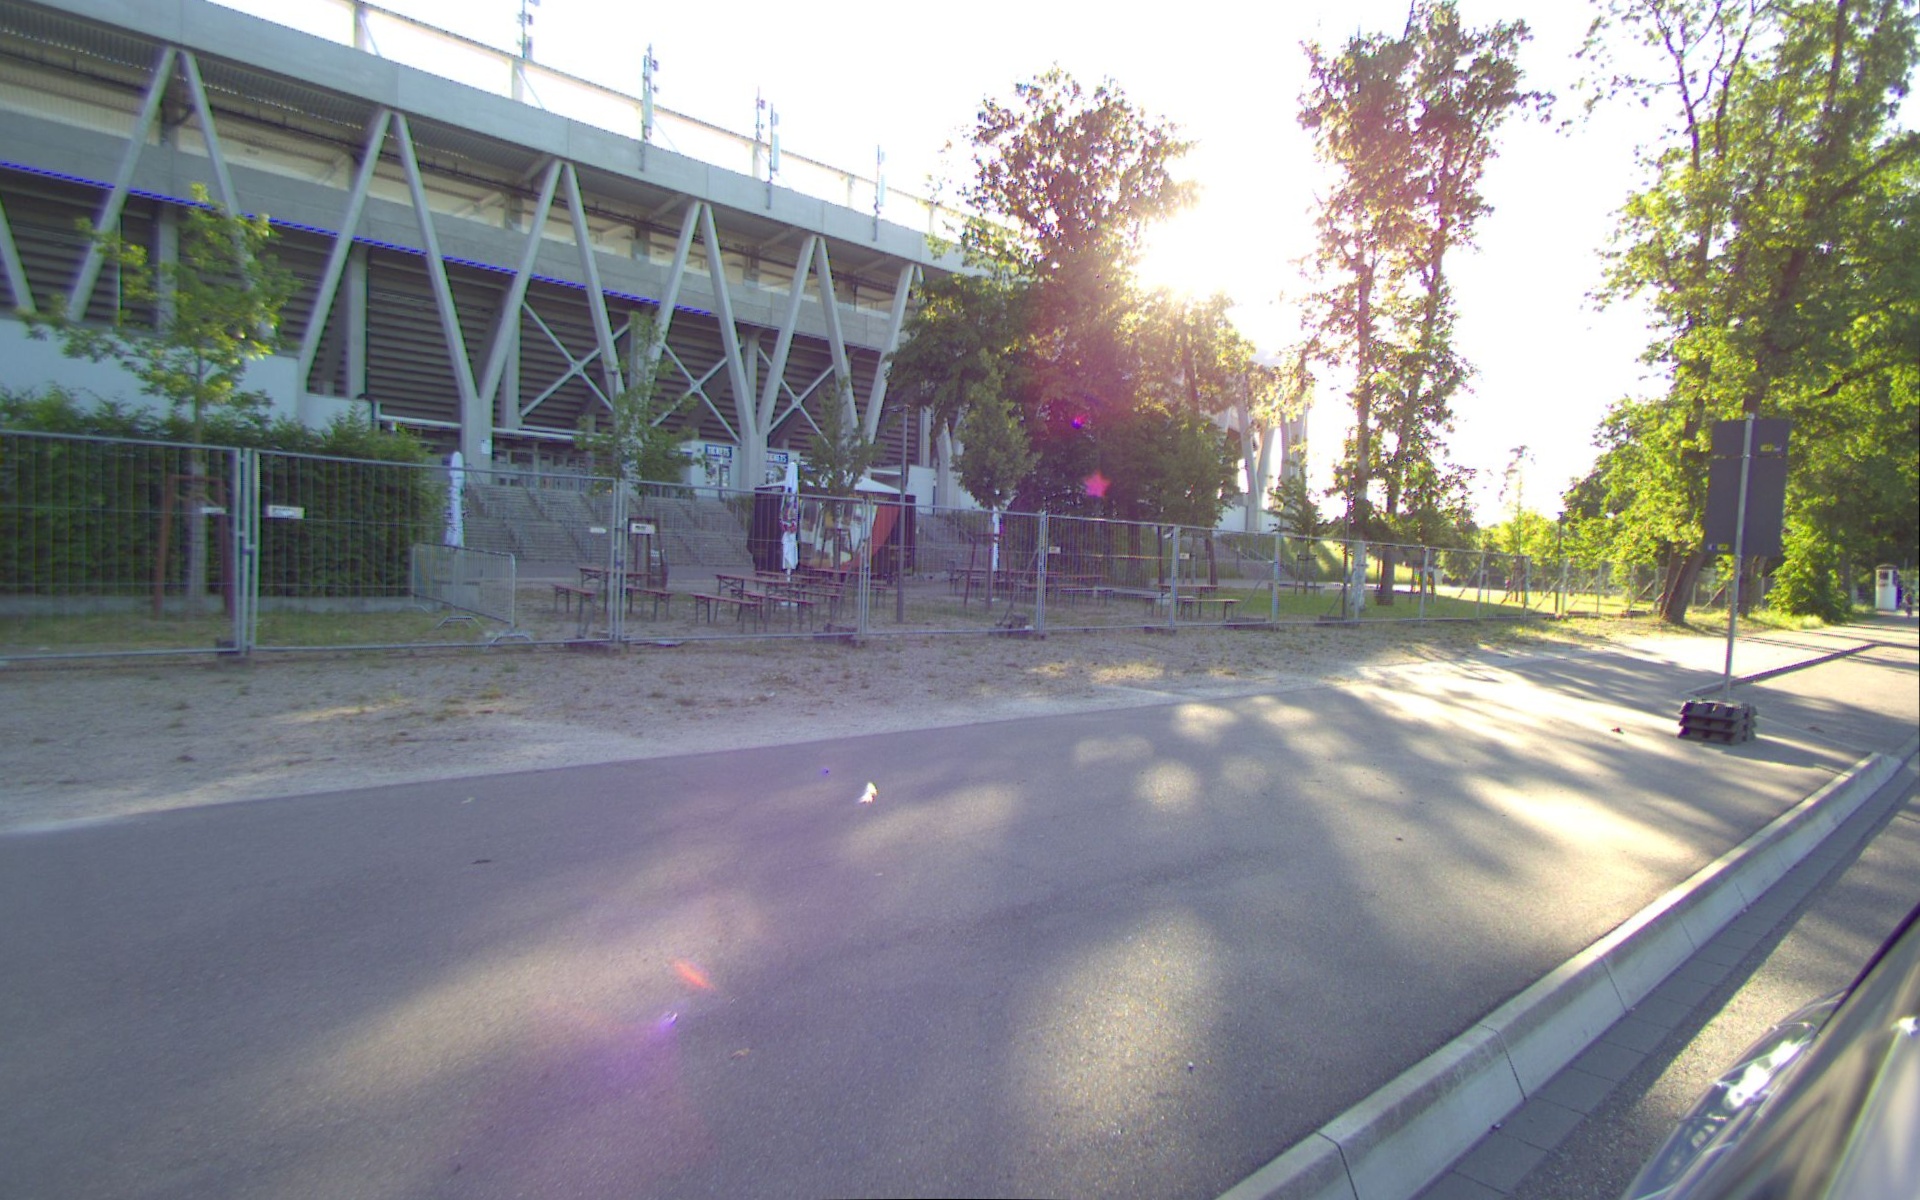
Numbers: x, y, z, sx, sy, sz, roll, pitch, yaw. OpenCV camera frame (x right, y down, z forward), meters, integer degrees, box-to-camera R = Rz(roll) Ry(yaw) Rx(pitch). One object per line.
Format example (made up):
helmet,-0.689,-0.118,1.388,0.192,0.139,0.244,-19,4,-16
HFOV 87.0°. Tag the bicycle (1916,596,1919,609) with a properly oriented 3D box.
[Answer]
bicycle,62.983,0.154,66.141,1.876,0.869,0.481,0,2,-41
